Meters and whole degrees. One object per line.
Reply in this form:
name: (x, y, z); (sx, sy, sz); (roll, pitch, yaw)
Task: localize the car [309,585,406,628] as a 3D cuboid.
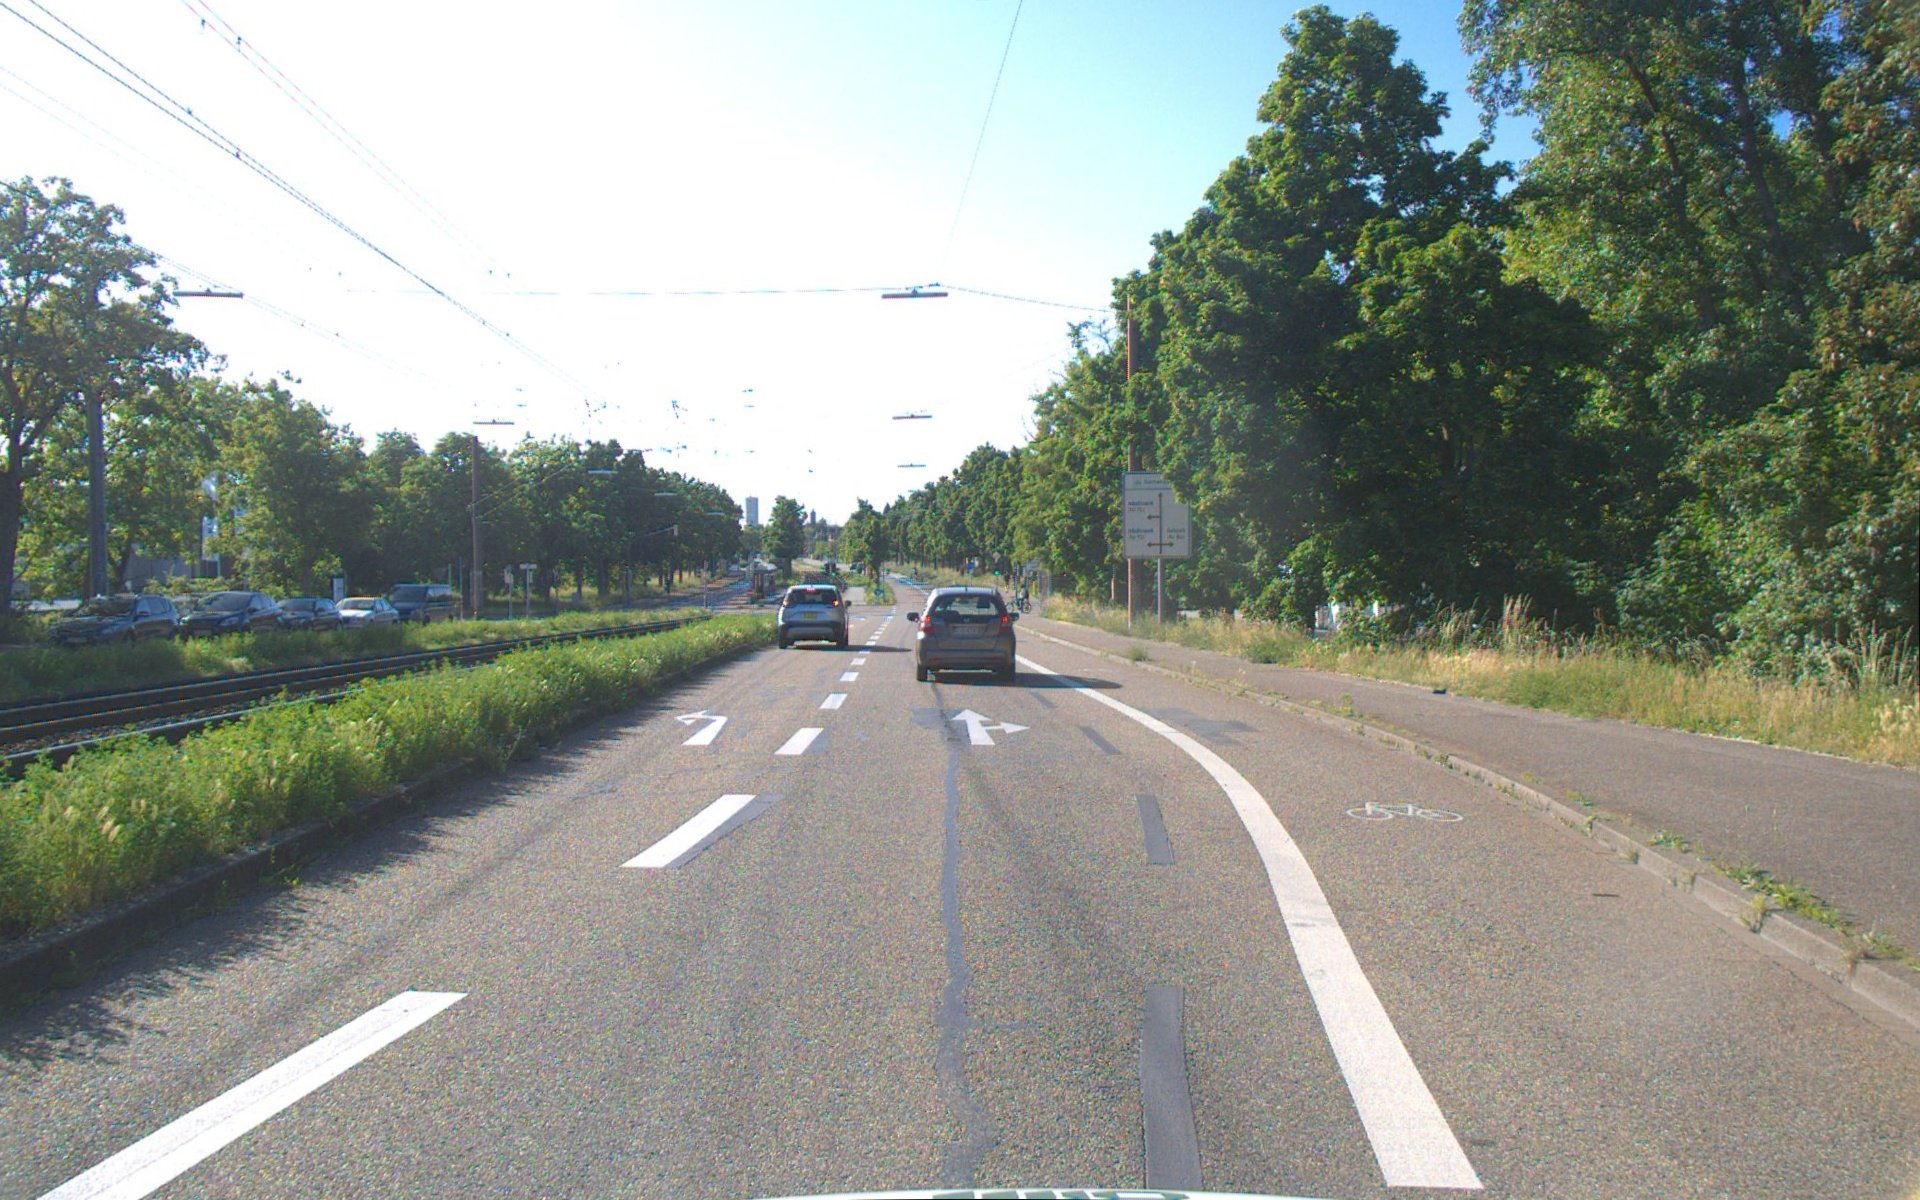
car: (-21.846, 0.207, 60.171); (1.889, 1.462, 4.694); (0, 1, -2)

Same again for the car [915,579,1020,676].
car: (0.068, 0.419, 28.520); (1.672, 1.535, 3.999); (0, 1, -2)

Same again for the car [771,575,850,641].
car: (-3.866, 0.167, 43.408); (1.813, 1.634, 4.253); (0, 1, -2)

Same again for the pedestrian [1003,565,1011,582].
pedestrian: (4.360, -2.471, 153.788); (0.664, 1.638, 0.720); (1, 1, -4)

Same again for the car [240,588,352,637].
car: (-21.540, 0.371, 53.862); (1.953, 1.462, 4.414); (0, 1, -2)

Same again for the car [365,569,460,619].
car: (-21.957, -0.264, 66.535); (2.152, 1.924, 4.791); (0, 1, 0)

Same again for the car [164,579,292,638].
car: (-21.281, 0.213, 48.273); (1.954, 1.601, 4.432); (0, 1, -3)

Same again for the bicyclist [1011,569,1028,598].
bicyclist: (3.682, -1.001, 101.728); (0.890, 1.775, 0.765); (-2, 0, 9)

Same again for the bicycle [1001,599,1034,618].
bicycle: (3.537, 0.523, 101.765); (1.879, 1.015, 0.765); (-3, 0, 9)

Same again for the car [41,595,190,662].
car: (-21.040, 0.673, 41.396); (1.701, 1.520, 4.325); (1, 0, -4)
